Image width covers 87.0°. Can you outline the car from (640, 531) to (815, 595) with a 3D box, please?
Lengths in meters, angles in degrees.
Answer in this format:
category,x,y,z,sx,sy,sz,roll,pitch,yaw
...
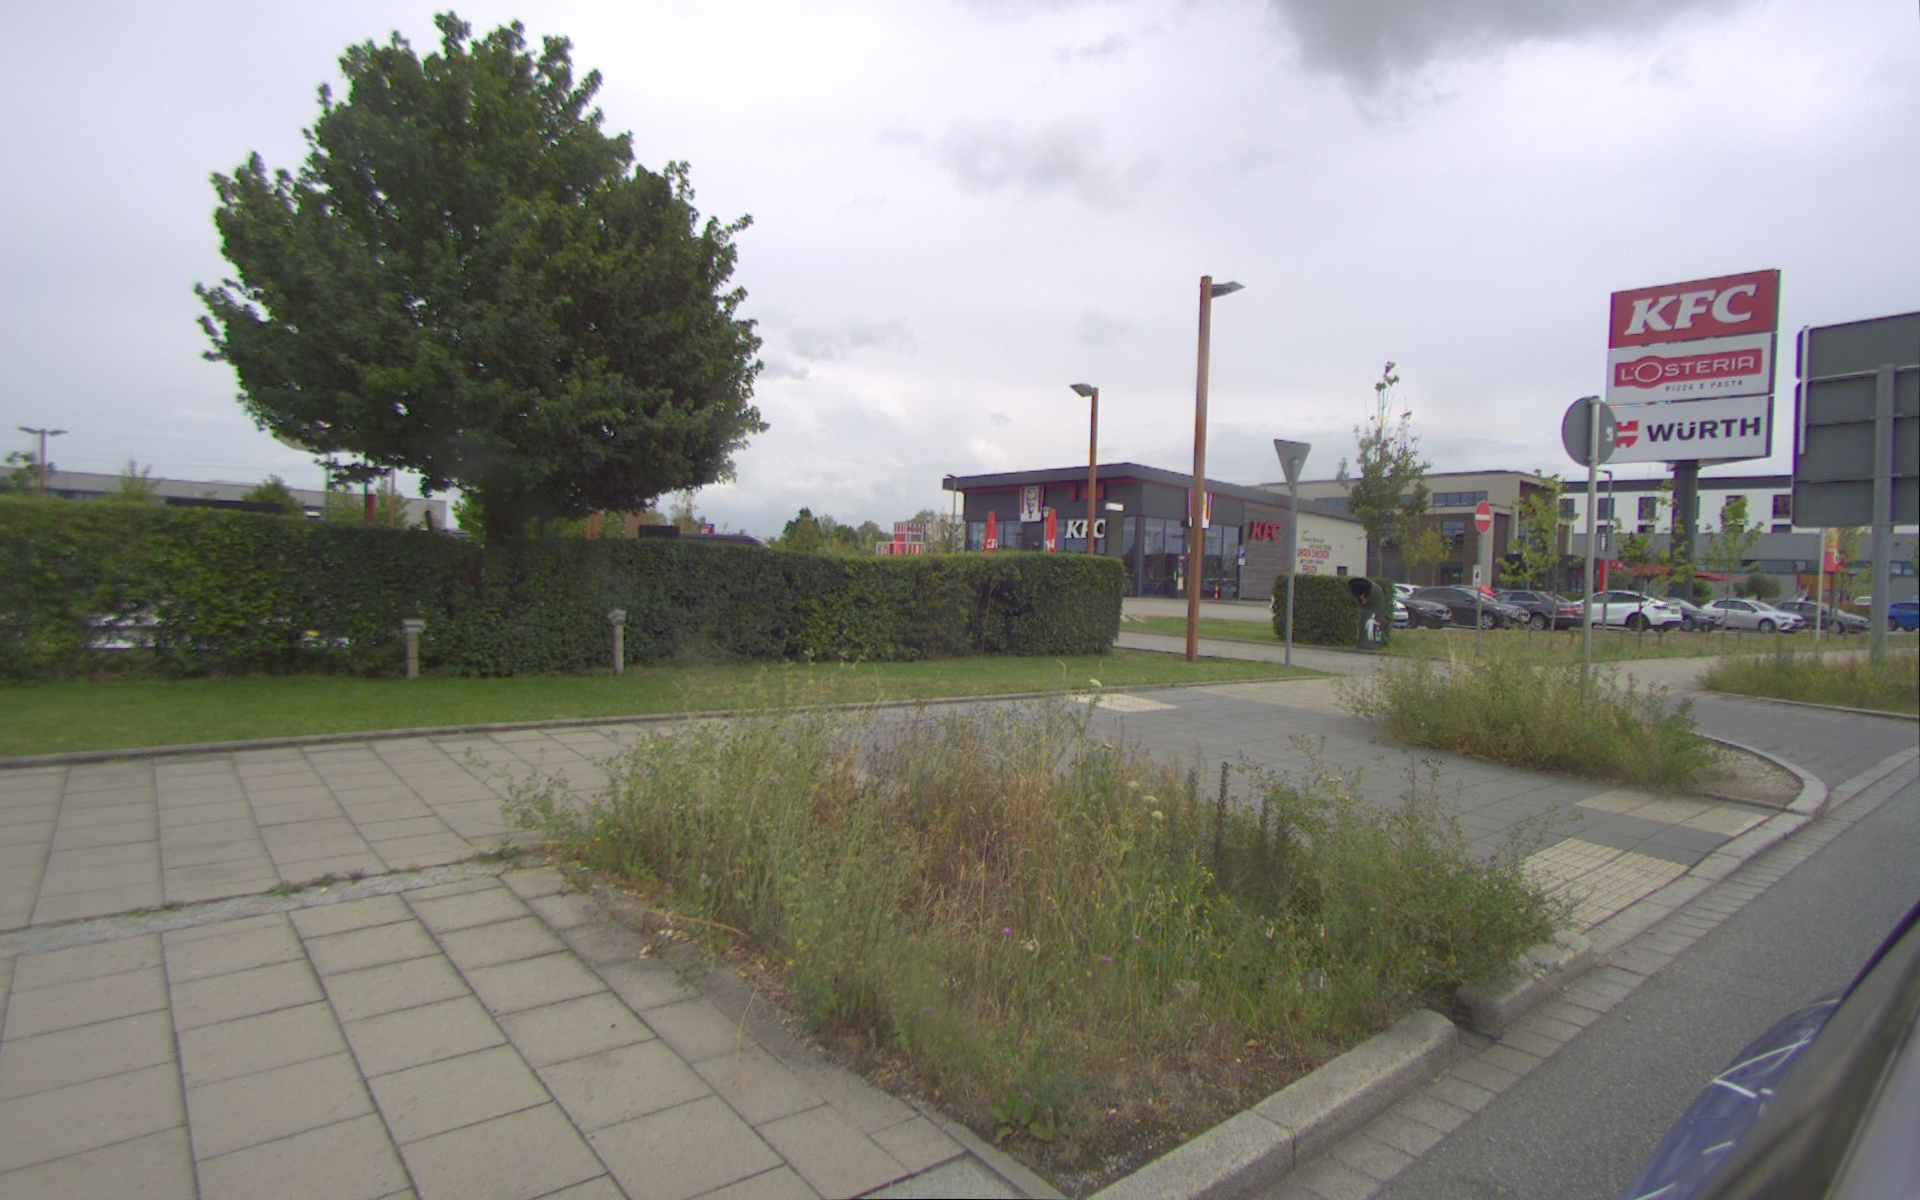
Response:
category,x,y,z,sx,sy,sz,roll,pitch,yaw
car,-10.219,-1.625,44.887,7.193,2.533,2.280,2,1,3

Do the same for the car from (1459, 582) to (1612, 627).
category,x,y,z,sx,sy,sz,roll,pitch,yaw
car,21.301,0.137,37.654,1.992,1.487,4.536,1,1,-32

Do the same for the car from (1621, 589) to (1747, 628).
category,x,y,z,sx,sy,sz,roll,pitch,yaw
car,31.379,0.331,43.982,1.900,1.503,4.009,0,2,-24

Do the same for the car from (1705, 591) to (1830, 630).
category,x,y,z,sx,sy,sz,roll,pitch,yaw
car,36.034,0.449,45.281,1.862,1.499,3.884,1,3,-22

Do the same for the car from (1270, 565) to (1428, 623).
category,x,y,z,sx,sy,sz,roll,pitch,yaw
car,12.439,-0.220,32.565,1.902,1.660,4.359,1,2,-38

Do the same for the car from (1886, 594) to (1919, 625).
category,x,y,z,sx,sy,sz,roll,pitch,yaw
car,49.372,0.532,50.436,1.924,1.539,4.286,1,1,-18

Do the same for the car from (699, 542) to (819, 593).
category,x,y,z,sx,sy,sz,roll,pitch,yaw
car,-10.375,-1.677,52.279,5.573,2.380,2.541,1,1,-25

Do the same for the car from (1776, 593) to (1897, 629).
category,x,y,z,sx,sy,sz,roll,pitch,yaw
car,40.482,0.487,46.841,1.850,1.512,3.779,1,1,-21

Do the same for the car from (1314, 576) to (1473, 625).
category,x,y,z,sx,sy,sz,roll,pitch,yaw
car,14.457,-0.007,33.991,2.034,1.454,4.483,1,2,-35

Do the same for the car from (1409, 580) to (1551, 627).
category,x,y,z,sx,sy,sz,roll,pitch,yaw
car,18.643,0.104,36.453,1.905,1.456,4.099,1,2,-34

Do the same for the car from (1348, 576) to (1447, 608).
category,x,y,z,sx,sy,sz,roll,pitch,yaw
car,23.989,-0.463,55.670,2.042,1.537,4.576,1,3,-37

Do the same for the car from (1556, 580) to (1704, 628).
category,x,y,z,sx,sy,sz,roll,pitch,yaw
car,27.202,0.126,41.264,2.046,1.665,4.585,1,3,-28

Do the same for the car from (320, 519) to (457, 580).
category,x,y,z,sx,sy,sz,roll,pitch,yaw
car,-26.520,-2.274,47.254,2.245,2.560,6.031,2,1,10

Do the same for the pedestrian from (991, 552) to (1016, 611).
category,x,y,z,sx,sy,sz,roll,pitch,yaw
pedestrian,1.362,-0.584,31.607,0.467,1.827,0.793,2,1,28
